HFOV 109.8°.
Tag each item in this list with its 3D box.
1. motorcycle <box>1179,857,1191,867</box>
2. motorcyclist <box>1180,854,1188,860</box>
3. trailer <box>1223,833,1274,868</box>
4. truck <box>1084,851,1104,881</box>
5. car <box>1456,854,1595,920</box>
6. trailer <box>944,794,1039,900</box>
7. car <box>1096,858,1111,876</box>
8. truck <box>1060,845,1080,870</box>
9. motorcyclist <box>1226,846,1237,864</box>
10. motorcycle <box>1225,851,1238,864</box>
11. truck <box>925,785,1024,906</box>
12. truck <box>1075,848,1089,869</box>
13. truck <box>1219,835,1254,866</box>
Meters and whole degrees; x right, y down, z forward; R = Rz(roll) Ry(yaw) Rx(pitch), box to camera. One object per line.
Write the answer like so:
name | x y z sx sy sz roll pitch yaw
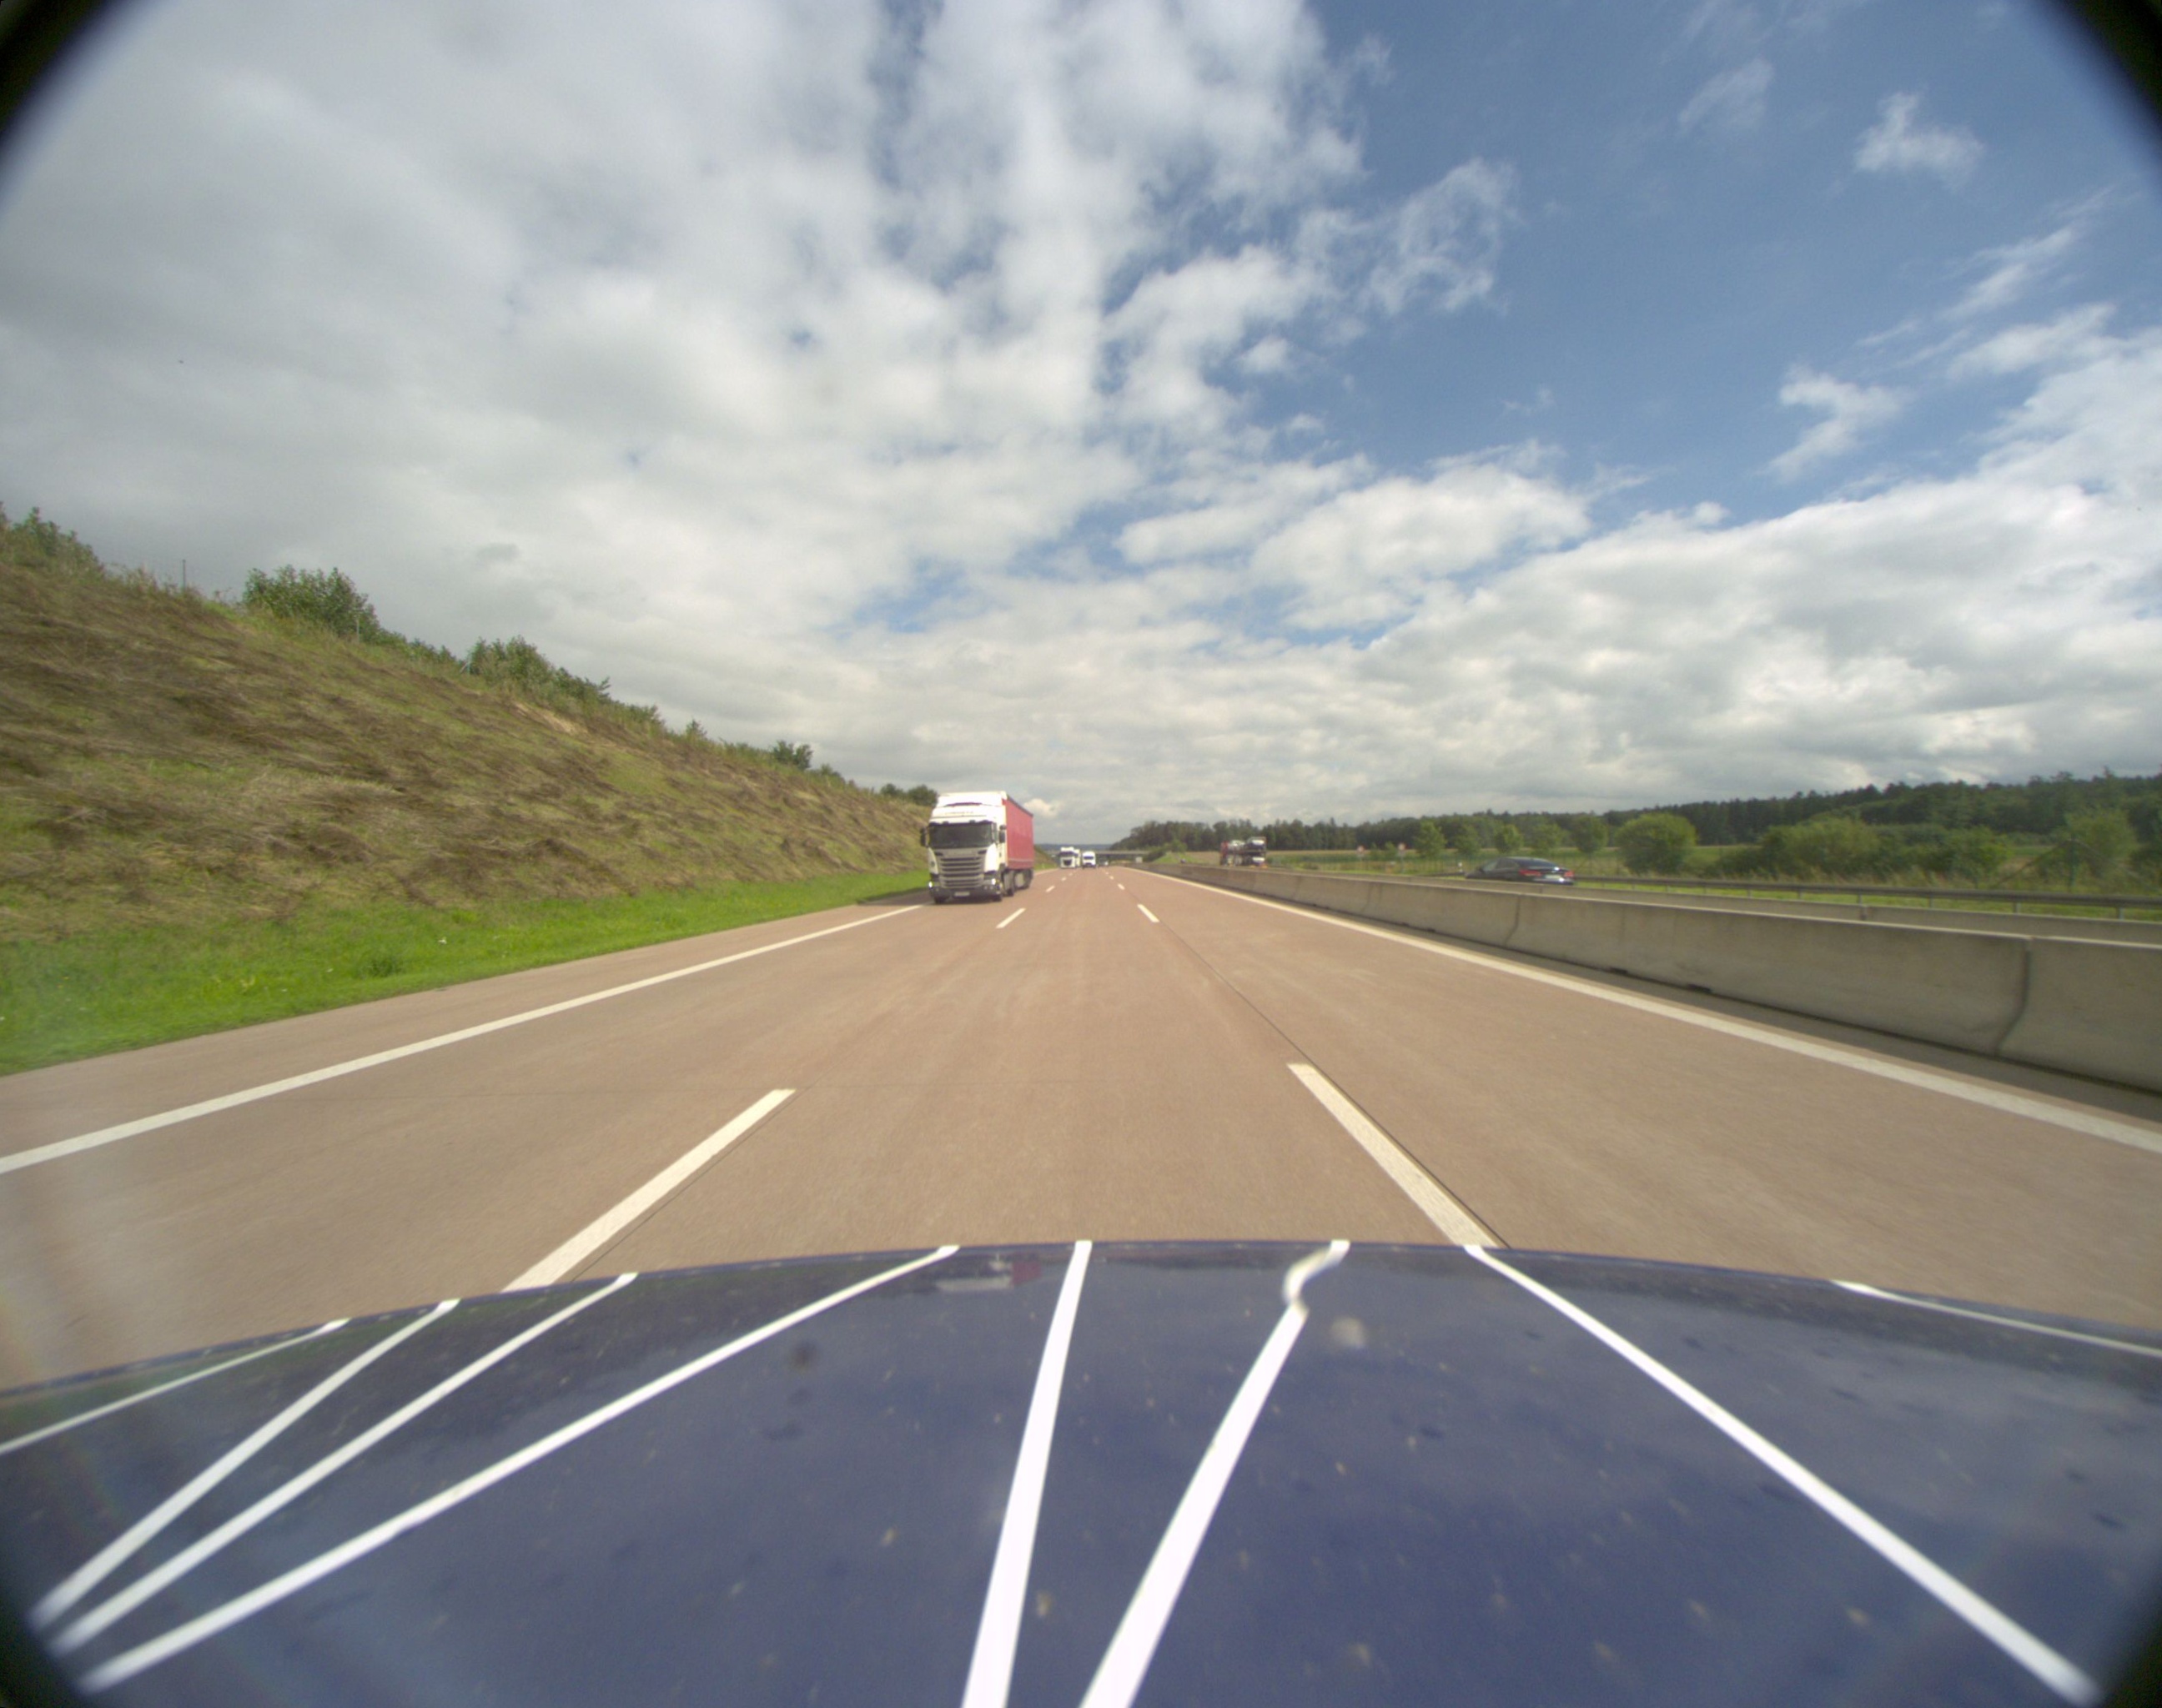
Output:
motorcycle | 17.333 1.385 126.734 1.558 1.533 2.841 -2 0 2
motorcyclist | 17.218 0.452 126.476 1.188 0.943 0.839 -2 0 1
trailer | 20.832 -0.425 95.786 3.202 3.955 16.326 -2 0 2
truck | 2.012 1.789 117.257 2.681 4.334 11.808 -2 0 1
car | 15.589 1.058 27.017 1.991 2.002 5.051 -2 1 1
trailer | -3.813 -0.283 35.898 2.679 4.069 12.789 -1 0 1
car | 4.349 2.533 146.623 2.773 3.260 6.393 -2 0 2
truck | -1.991 0.608 138.750 3.107 4.334 11.256 -2 0 1
motorcyclist | 16.393 0.095 82.926 1.012 1.851 0.744 -2 1 1
motorcycle | 16.409 0.377 82.880 0.929 1.296 2.342 -2 0 2
truck | -3.907 -0.302 29.311 2.681 4.082 6.616 -2 0 1
truck | 0.270 0.913 178.018 2.927 4.659 11.808 -2 0 1
truck | 21.064 -0.423 103.436 3.202 3.955 7.730 -2 0 2
